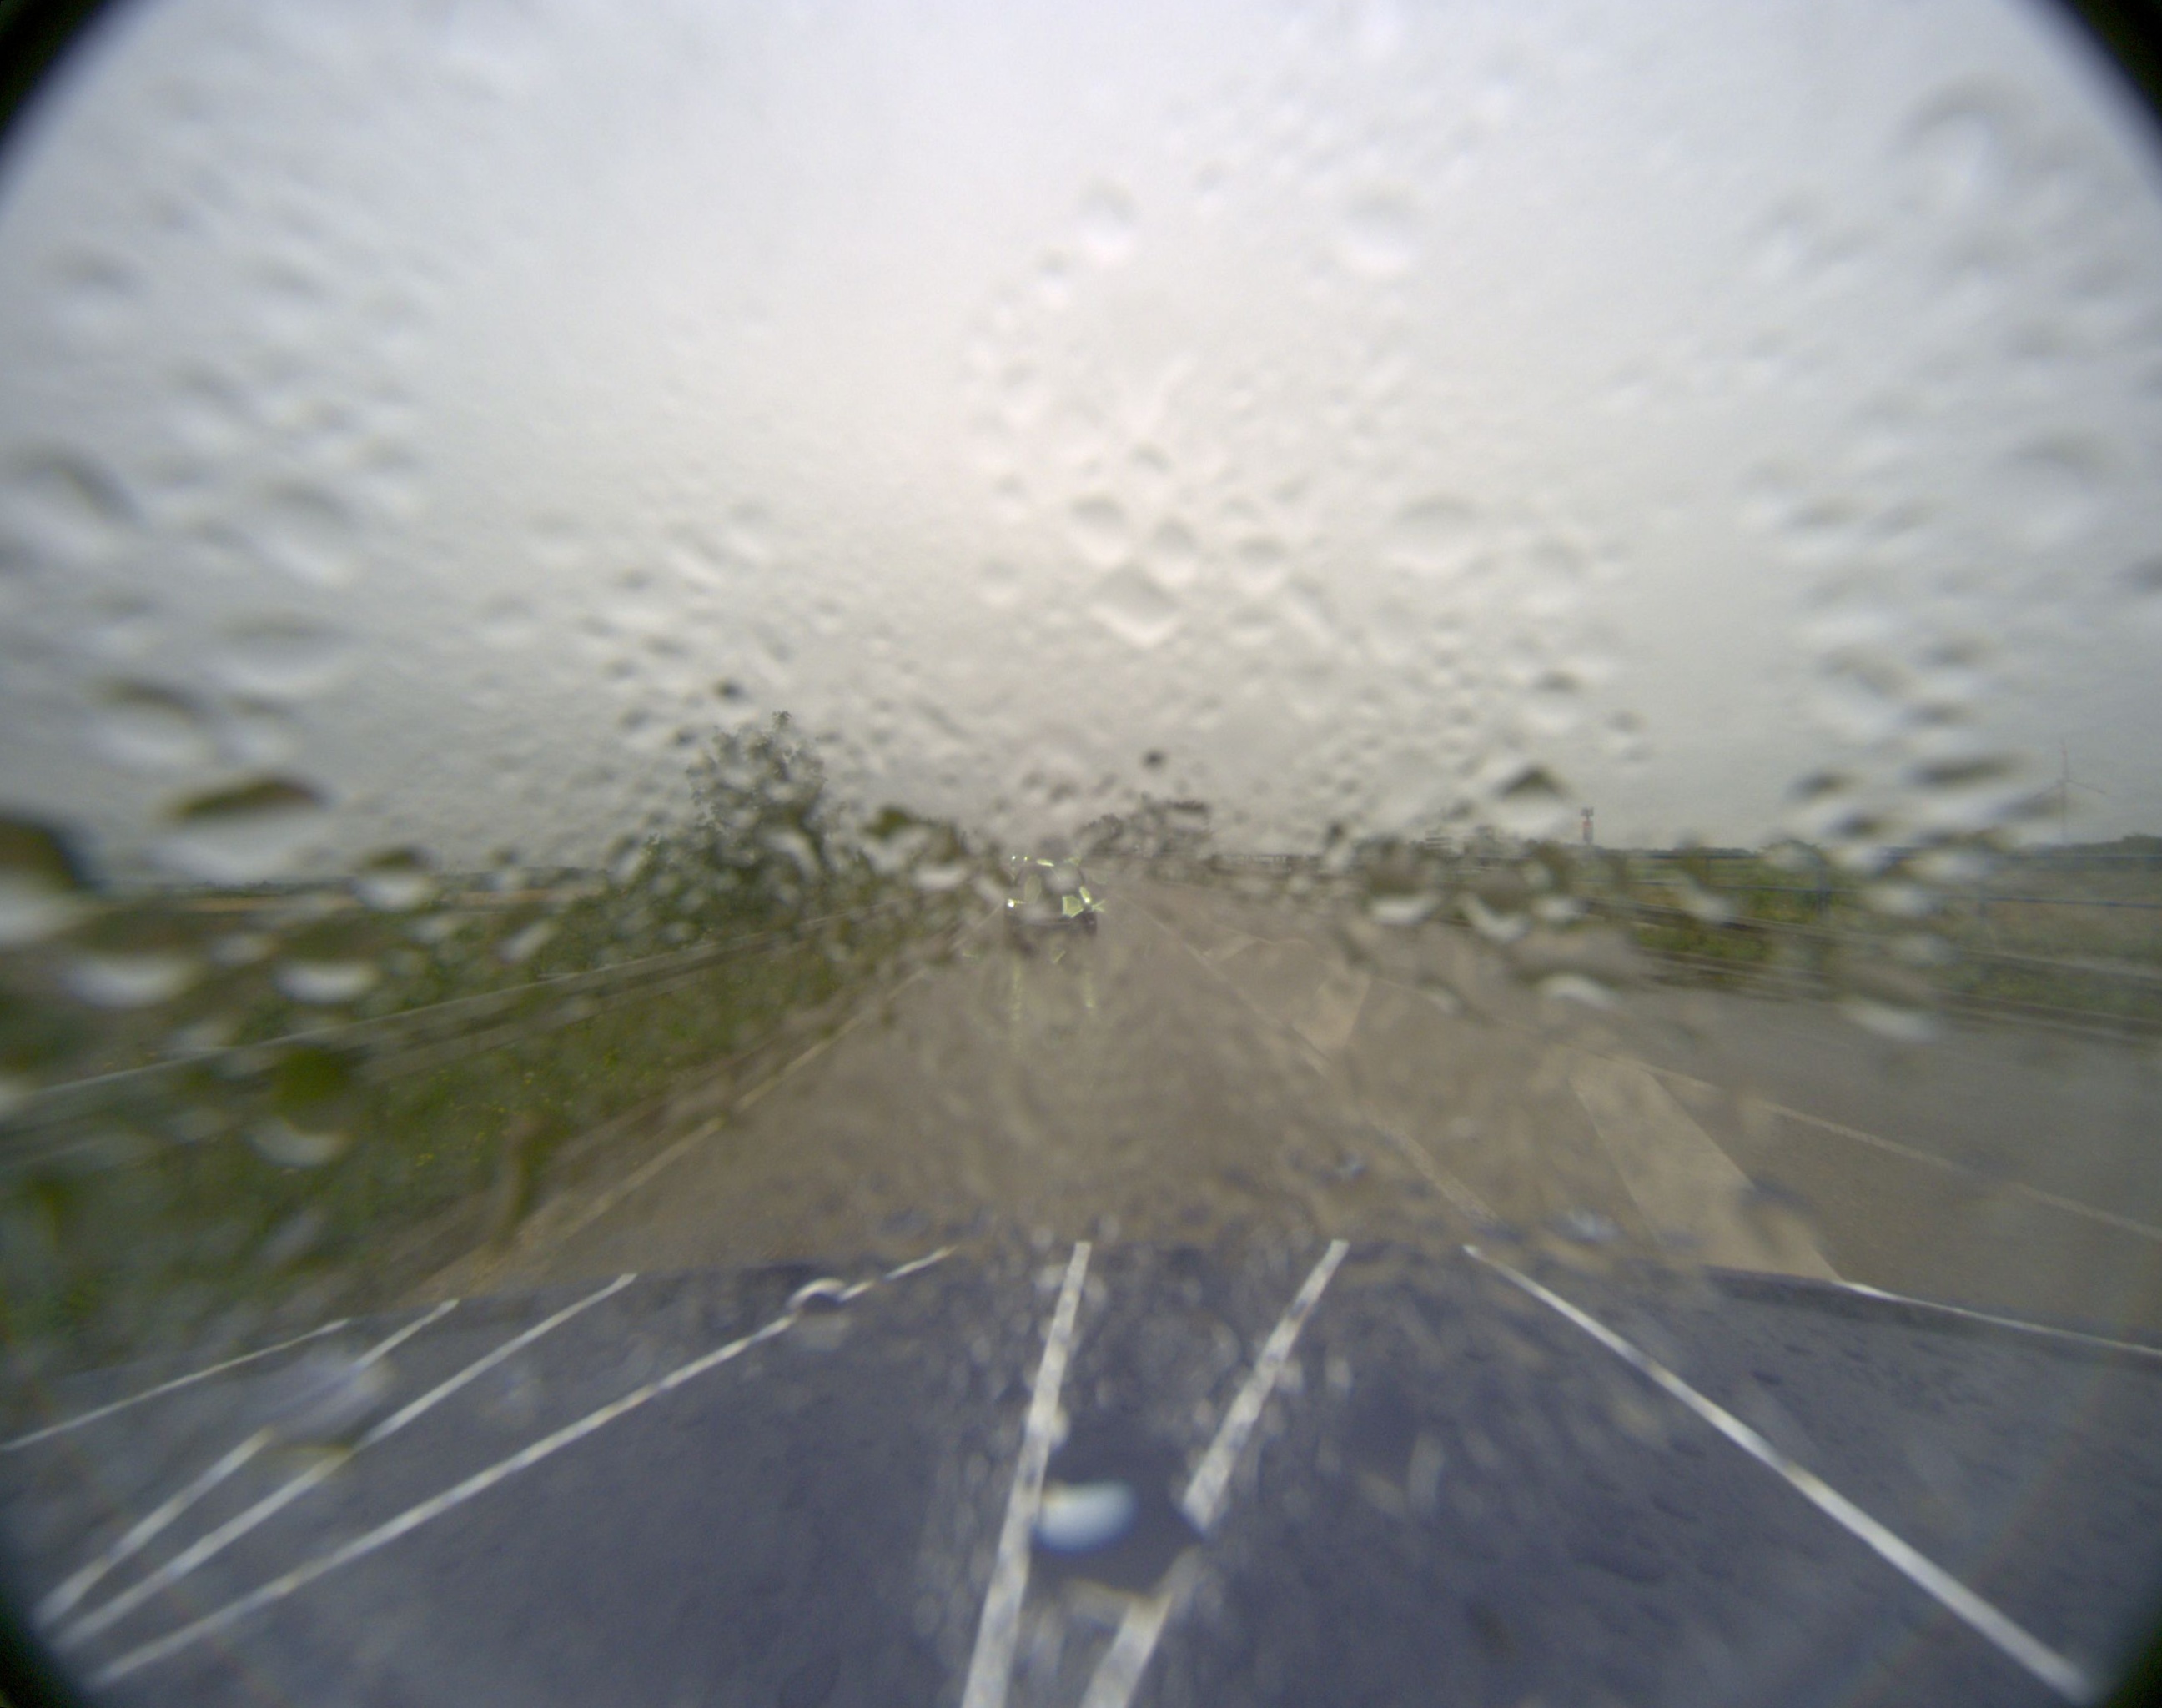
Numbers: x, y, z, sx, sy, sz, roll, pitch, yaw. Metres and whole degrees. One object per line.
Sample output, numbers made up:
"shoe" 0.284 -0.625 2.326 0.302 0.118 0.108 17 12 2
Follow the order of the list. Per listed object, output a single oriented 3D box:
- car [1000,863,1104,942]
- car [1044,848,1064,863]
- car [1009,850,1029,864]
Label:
"car" -0.681 0.931 16.413 1.910 1.361 4.563 -1 0 -4
"car" -2.780 0.140 78.558 1.786 1.517 4.166 0 1 -6
"car" -6.472 0.290 78.825 1.910 1.361 4.562 -1 0 -5
